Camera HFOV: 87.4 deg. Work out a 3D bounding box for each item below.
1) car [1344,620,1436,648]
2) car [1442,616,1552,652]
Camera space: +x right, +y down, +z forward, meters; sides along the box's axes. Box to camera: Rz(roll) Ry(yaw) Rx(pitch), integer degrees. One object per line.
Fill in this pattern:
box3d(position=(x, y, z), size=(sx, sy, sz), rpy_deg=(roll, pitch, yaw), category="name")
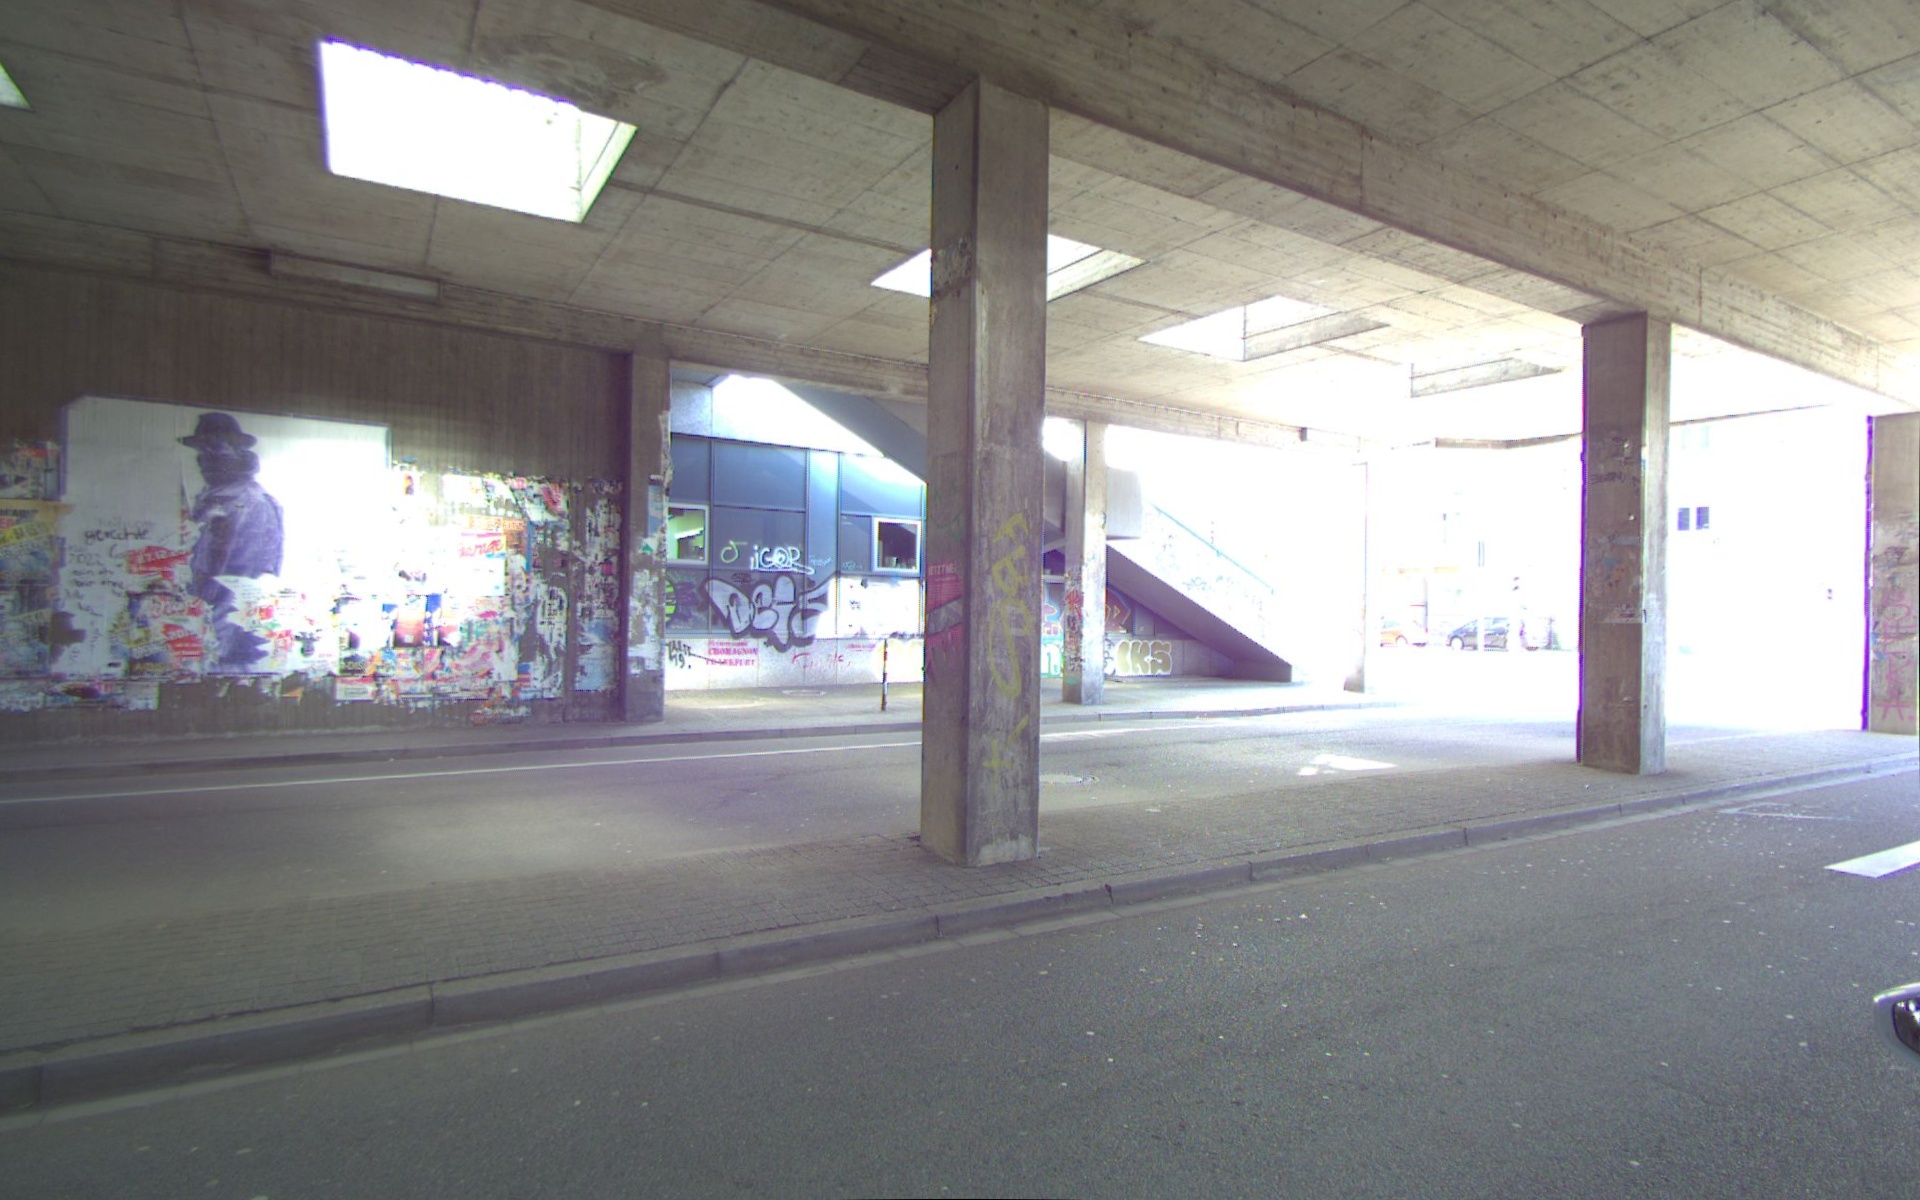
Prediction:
box3d(position=(22.489, 1.767, 52.667), size=(2.163, 1.392, 3.971), rpy_deg=(1, -1, -28), category="car")
box3d(position=(25.410, 1.579, 47.656), size=(2.240, 1.571, 4.111), rpy_deg=(1, -1, -29), category="car")
